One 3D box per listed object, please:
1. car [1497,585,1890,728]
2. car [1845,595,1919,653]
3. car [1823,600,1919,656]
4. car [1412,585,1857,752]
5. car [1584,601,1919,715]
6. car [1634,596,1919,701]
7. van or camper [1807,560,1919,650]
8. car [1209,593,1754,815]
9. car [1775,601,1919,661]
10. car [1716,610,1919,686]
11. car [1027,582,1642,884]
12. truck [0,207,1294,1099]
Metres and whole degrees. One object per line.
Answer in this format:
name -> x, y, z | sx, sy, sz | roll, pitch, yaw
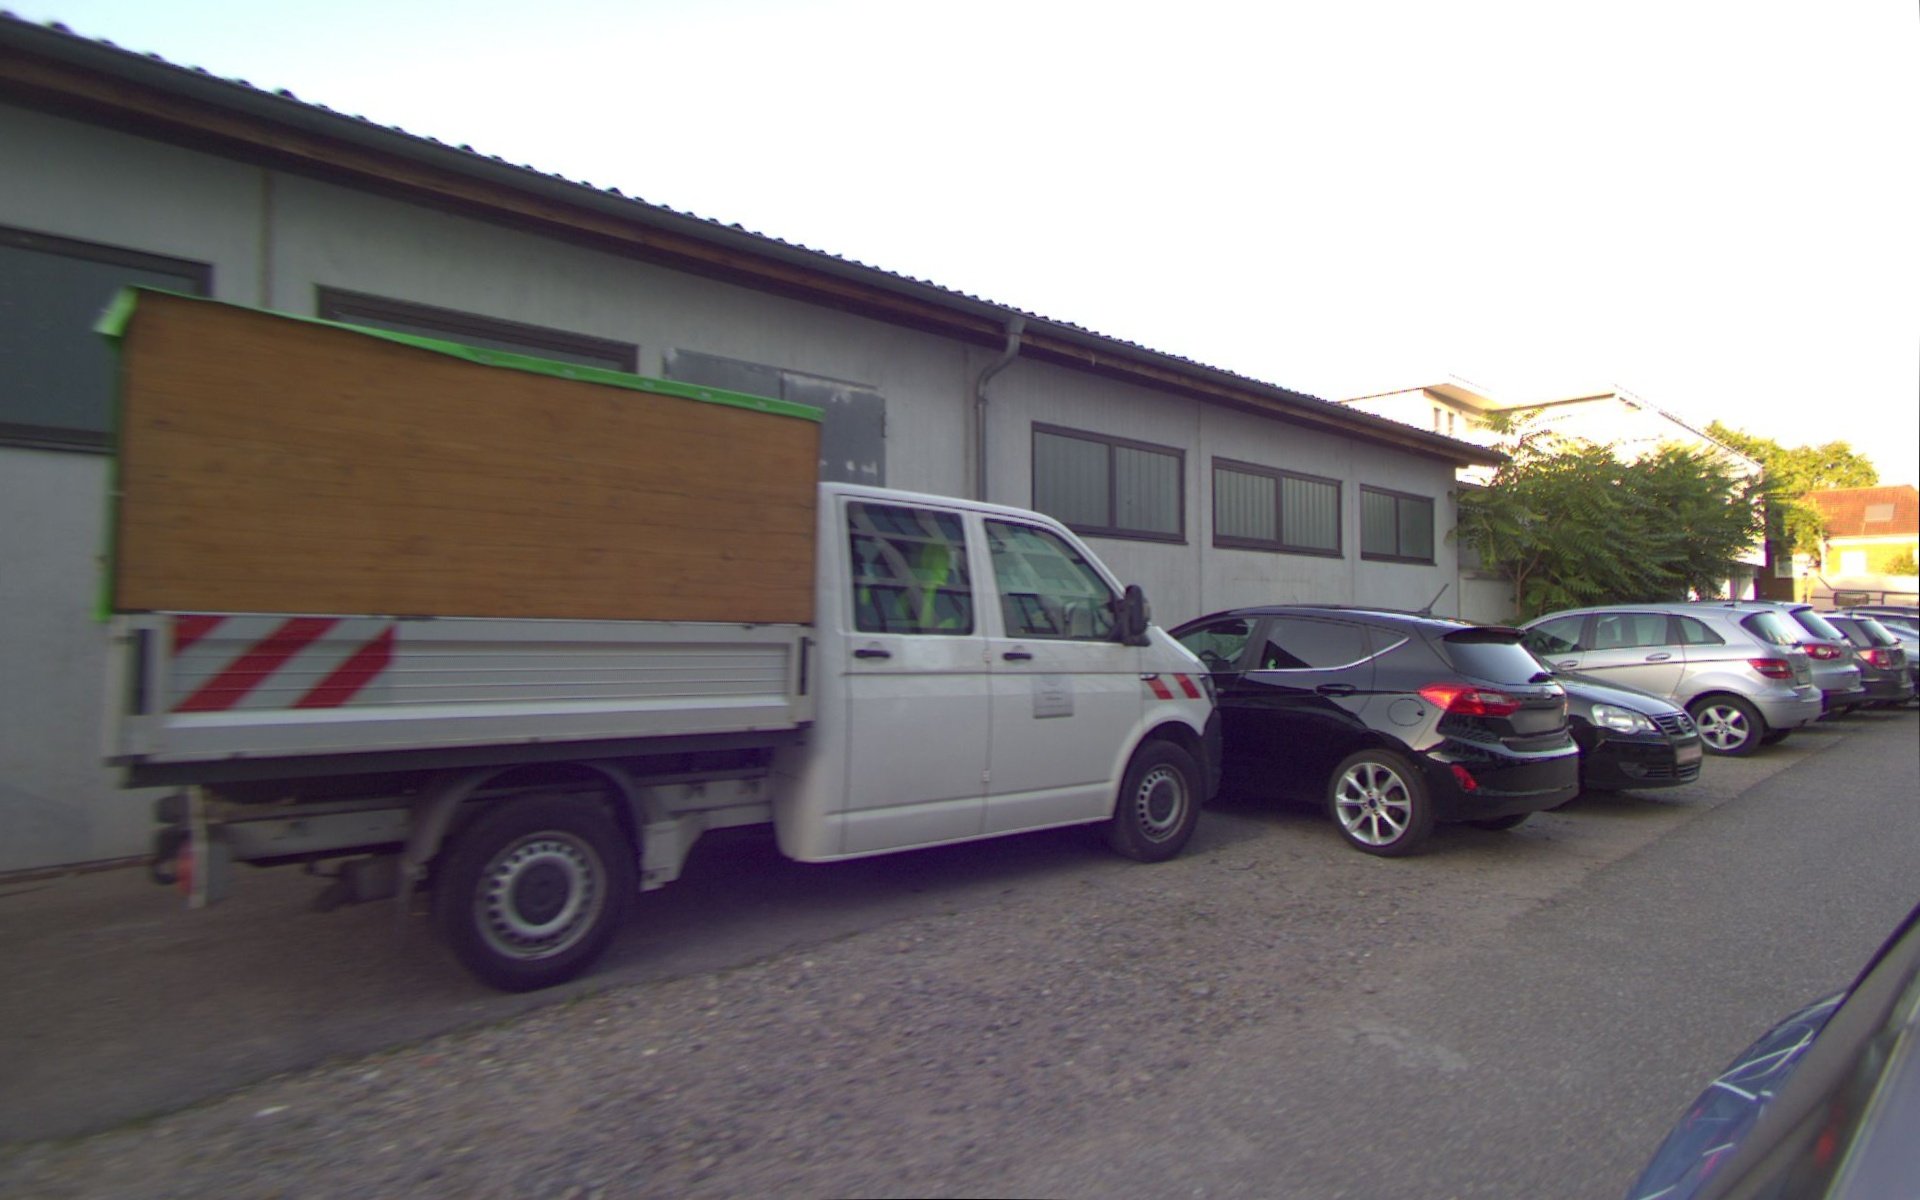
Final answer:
car -> 9.769, 0.719, 13.735 | 1.795, 1.640, 3.989 | 1, -2, -41
car -> 30.268, 0.732, 31.101 | 1.929, 1.763, 4.256 | 0, 0, -33
car -> 27.848, 0.799, 29.440 | 1.682, 1.583, 4.010 | 1, 0, -42
car -> 7.812, 0.731, 12.047 | 1.904, 1.630, 3.991 | 1, -2, -39
car -> 12.000, 0.804, 15.265 | 1.793, 1.464, 3.993 | -1, -1, -37
car -> 13.919, 0.754, 16.726 | 1.855, 1.522, 4.213 | -1, -1, -36
van or camper -> 32.094, 0.160, 33.591 | 2.442, 2.900, 5.793 | 0, 0, -39
car -> 4.273, 0.744, 8.774 | 1.812, 1.463, 3.766 | 0, -2, -39
car -> 24.264, 0.801, 26.962 | 1.681, 1.498, 3.713 | 1, 0, -39
car -> 17.628, 0.915, 19.769 | 1.788, 1.385, 4.215 | 1, -2, -34
car -> 2.409, 0.755, 7.324 | 1.856, 1.556, 3.769 | 2, -3, -36
truck -> -0.843, 0.197, 5.111 | 5.606, 2.229, 2.102 | 2, -2, -39
